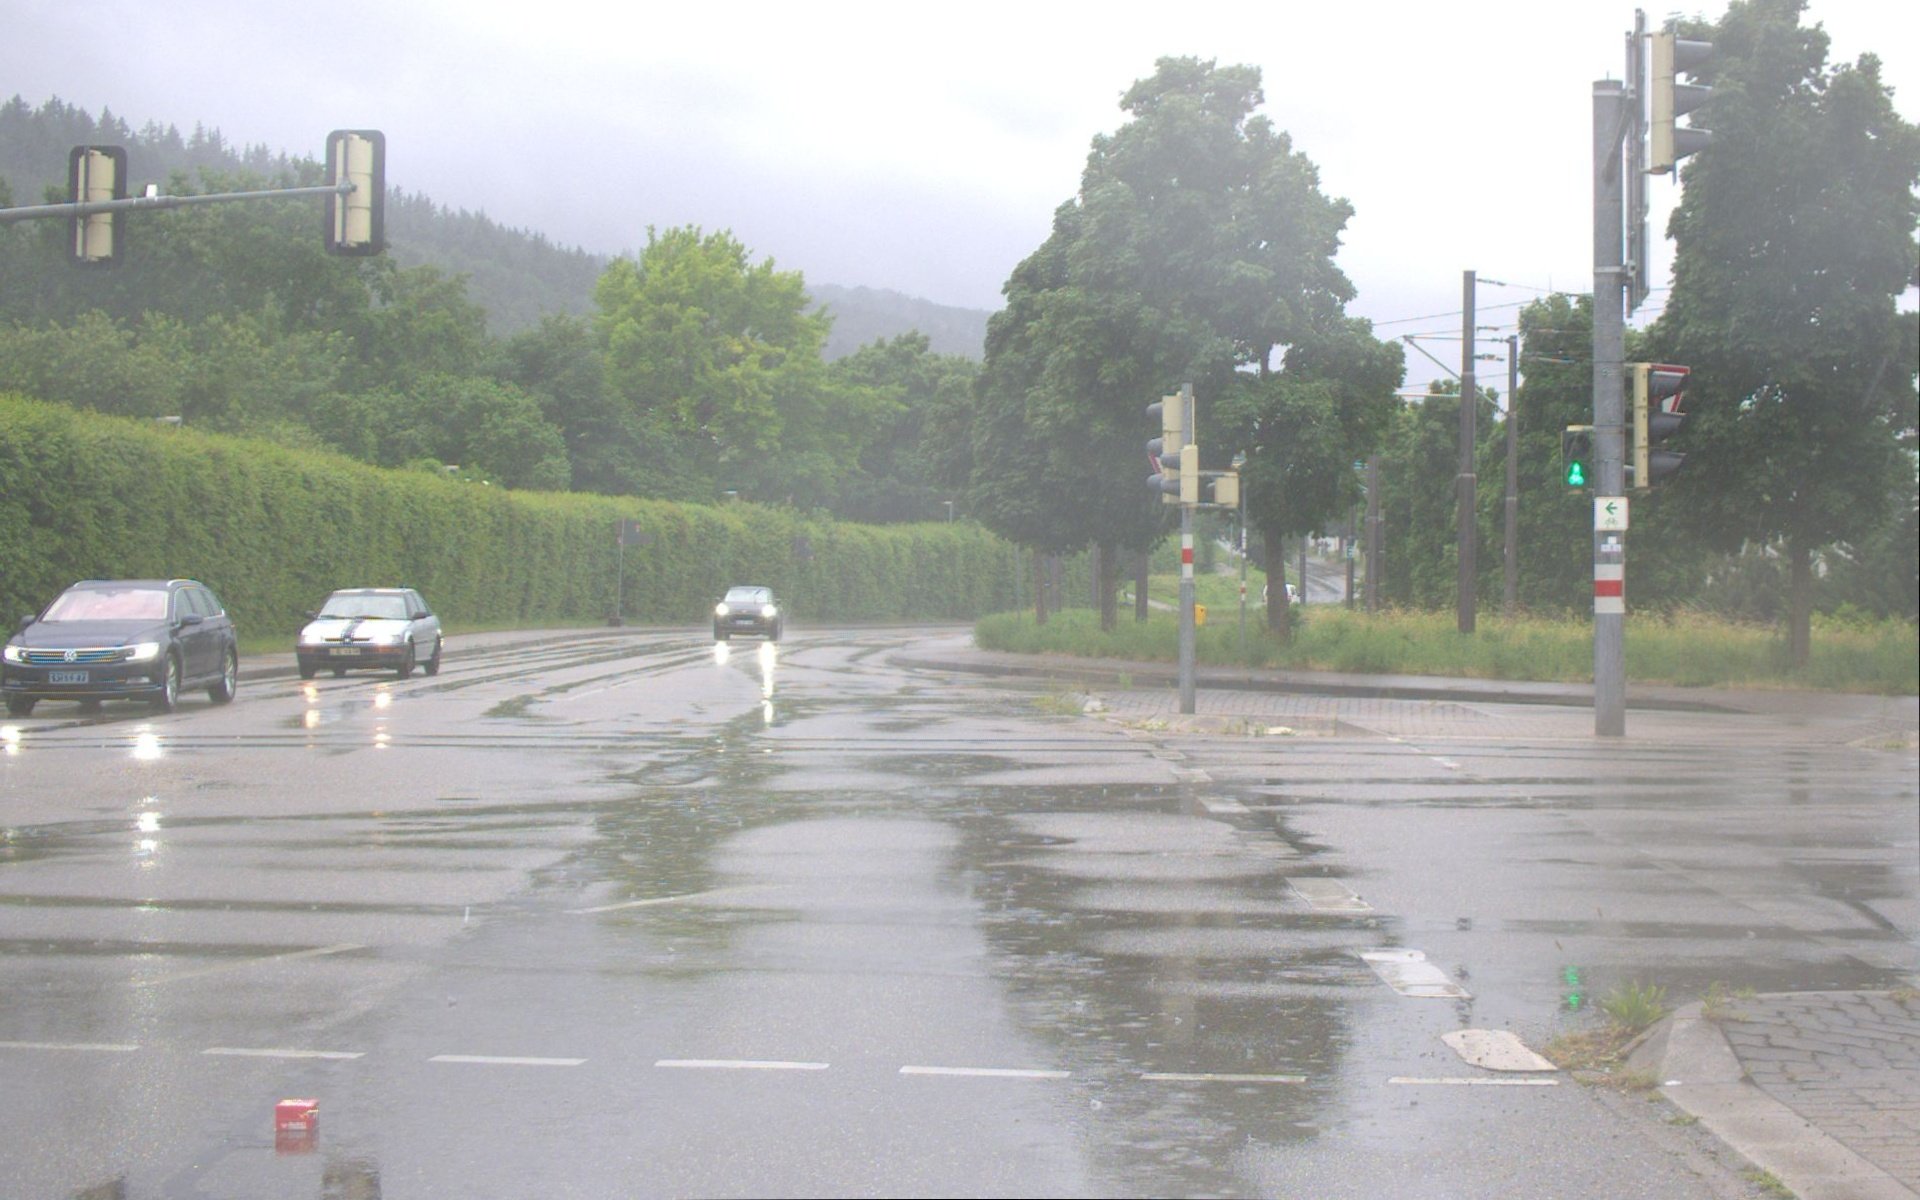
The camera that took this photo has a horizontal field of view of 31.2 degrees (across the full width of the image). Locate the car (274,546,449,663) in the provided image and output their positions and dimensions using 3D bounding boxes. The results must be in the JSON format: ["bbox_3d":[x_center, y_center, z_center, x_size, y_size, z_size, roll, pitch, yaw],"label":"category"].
[{"bbox_3d":[-9.192,0.034,53.093,2.036,1.702,4.066,1,1,-1],"label":"car"}]

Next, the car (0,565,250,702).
[{"bbox_3d":[-9.458,0.338,39.086,1.709,1.461,4.452,0,1,2],"label":"car"}]

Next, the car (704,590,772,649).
[{"bbox_3d":[-6.328,0.539,98.305,1.785,1.499,4.061,-1,2,-2],"label":"car"}]

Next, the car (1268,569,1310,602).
[{"bbox_3d":[19.356,-0.874,202.103,1.954,1.897,4.118,0,1,13],"label":"car"}]
